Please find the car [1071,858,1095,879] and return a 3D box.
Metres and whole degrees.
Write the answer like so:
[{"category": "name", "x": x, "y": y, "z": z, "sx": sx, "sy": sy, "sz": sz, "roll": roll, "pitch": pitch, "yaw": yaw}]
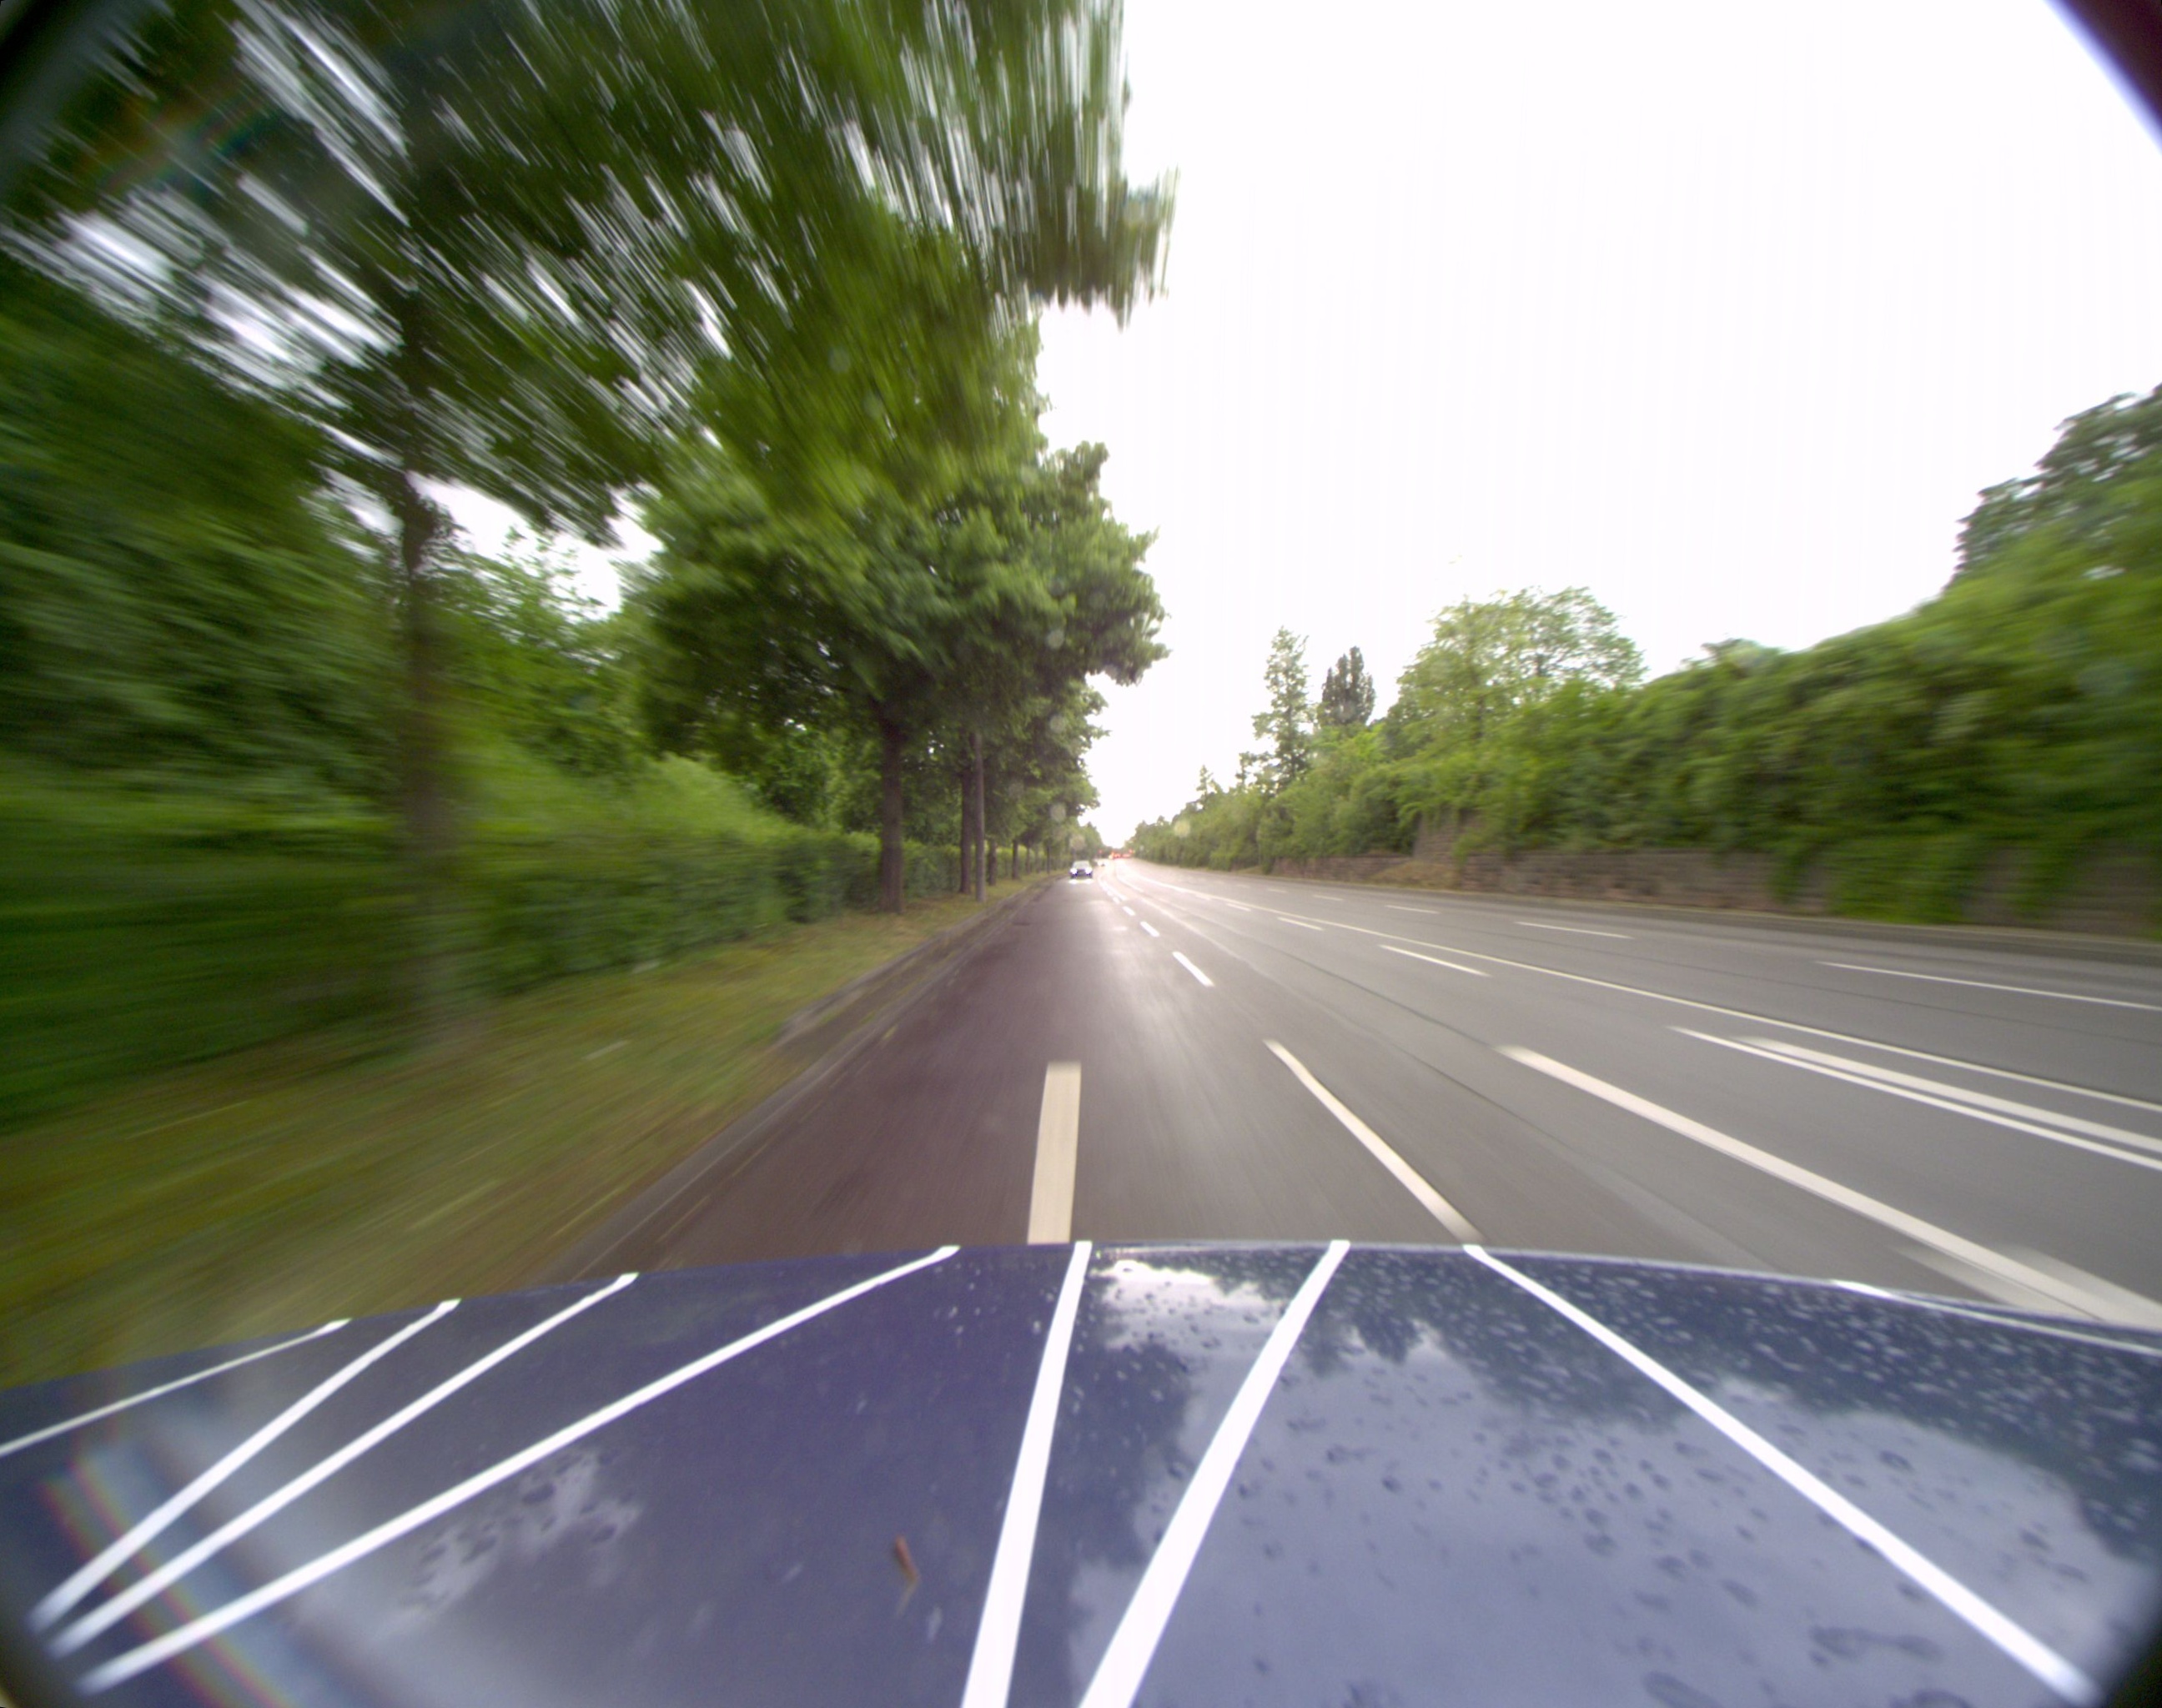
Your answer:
[{"category": "car", "x": 0.201, "y": 1.168, "z": 63.287, "sx": 1.824, "sy": 1.547, "sz": 4.000, "roll": -2, "pitch": 1, "yaw": 1}]
